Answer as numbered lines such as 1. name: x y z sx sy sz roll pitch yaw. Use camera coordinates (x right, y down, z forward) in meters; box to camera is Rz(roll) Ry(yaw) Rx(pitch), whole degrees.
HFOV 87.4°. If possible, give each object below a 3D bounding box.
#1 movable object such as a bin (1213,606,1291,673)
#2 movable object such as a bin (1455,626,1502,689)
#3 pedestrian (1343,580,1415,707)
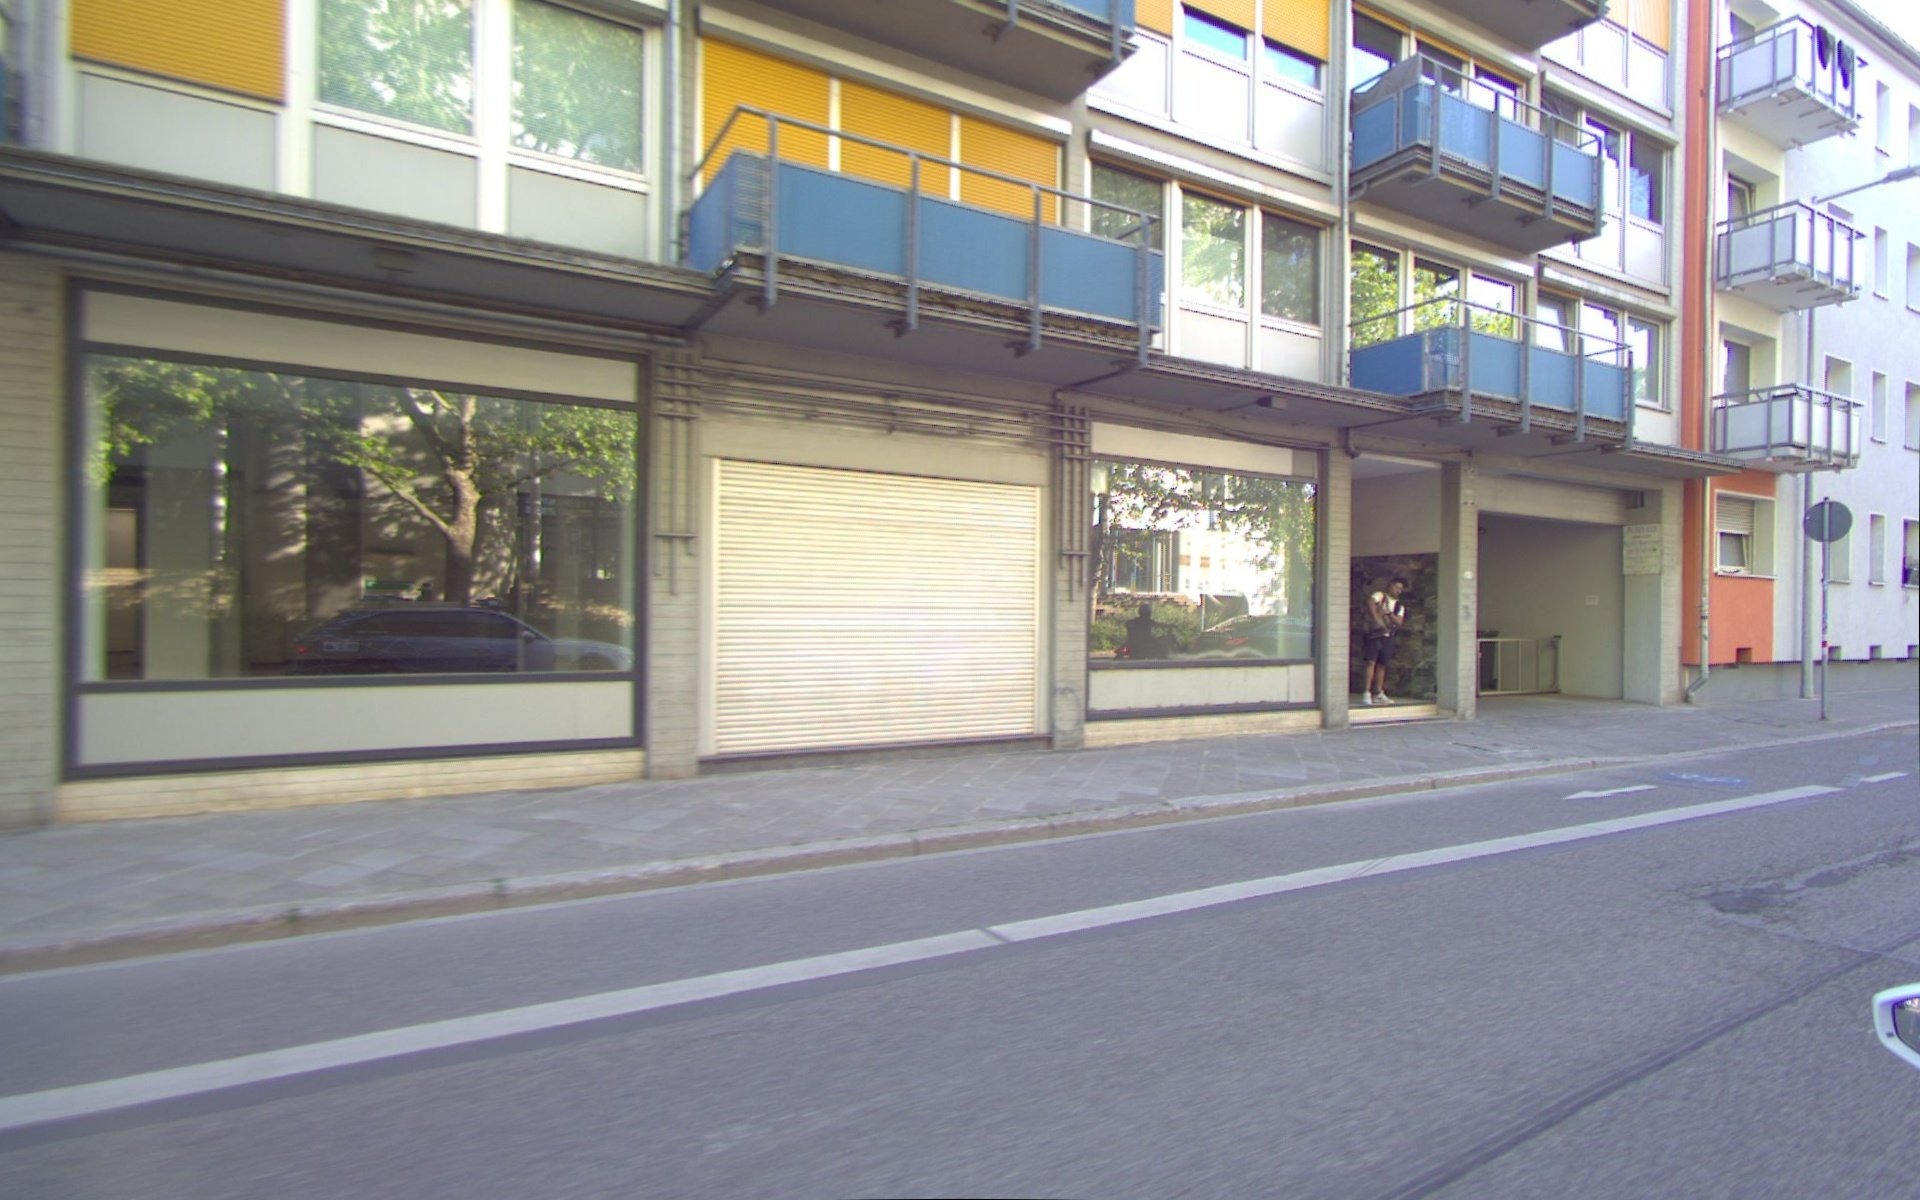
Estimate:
1. movable object such as a bin: 6.545 0.856 22.521 1.067 1.433 1.312 1 0 -30
2. movable object such as a bin: 9.411 1.035 18.248 0.646 1.102 0.487 1 0 -30
3. pedestrian: 5.443 0.552 13.055 0.747 1.600 0.511 1 0 -30
